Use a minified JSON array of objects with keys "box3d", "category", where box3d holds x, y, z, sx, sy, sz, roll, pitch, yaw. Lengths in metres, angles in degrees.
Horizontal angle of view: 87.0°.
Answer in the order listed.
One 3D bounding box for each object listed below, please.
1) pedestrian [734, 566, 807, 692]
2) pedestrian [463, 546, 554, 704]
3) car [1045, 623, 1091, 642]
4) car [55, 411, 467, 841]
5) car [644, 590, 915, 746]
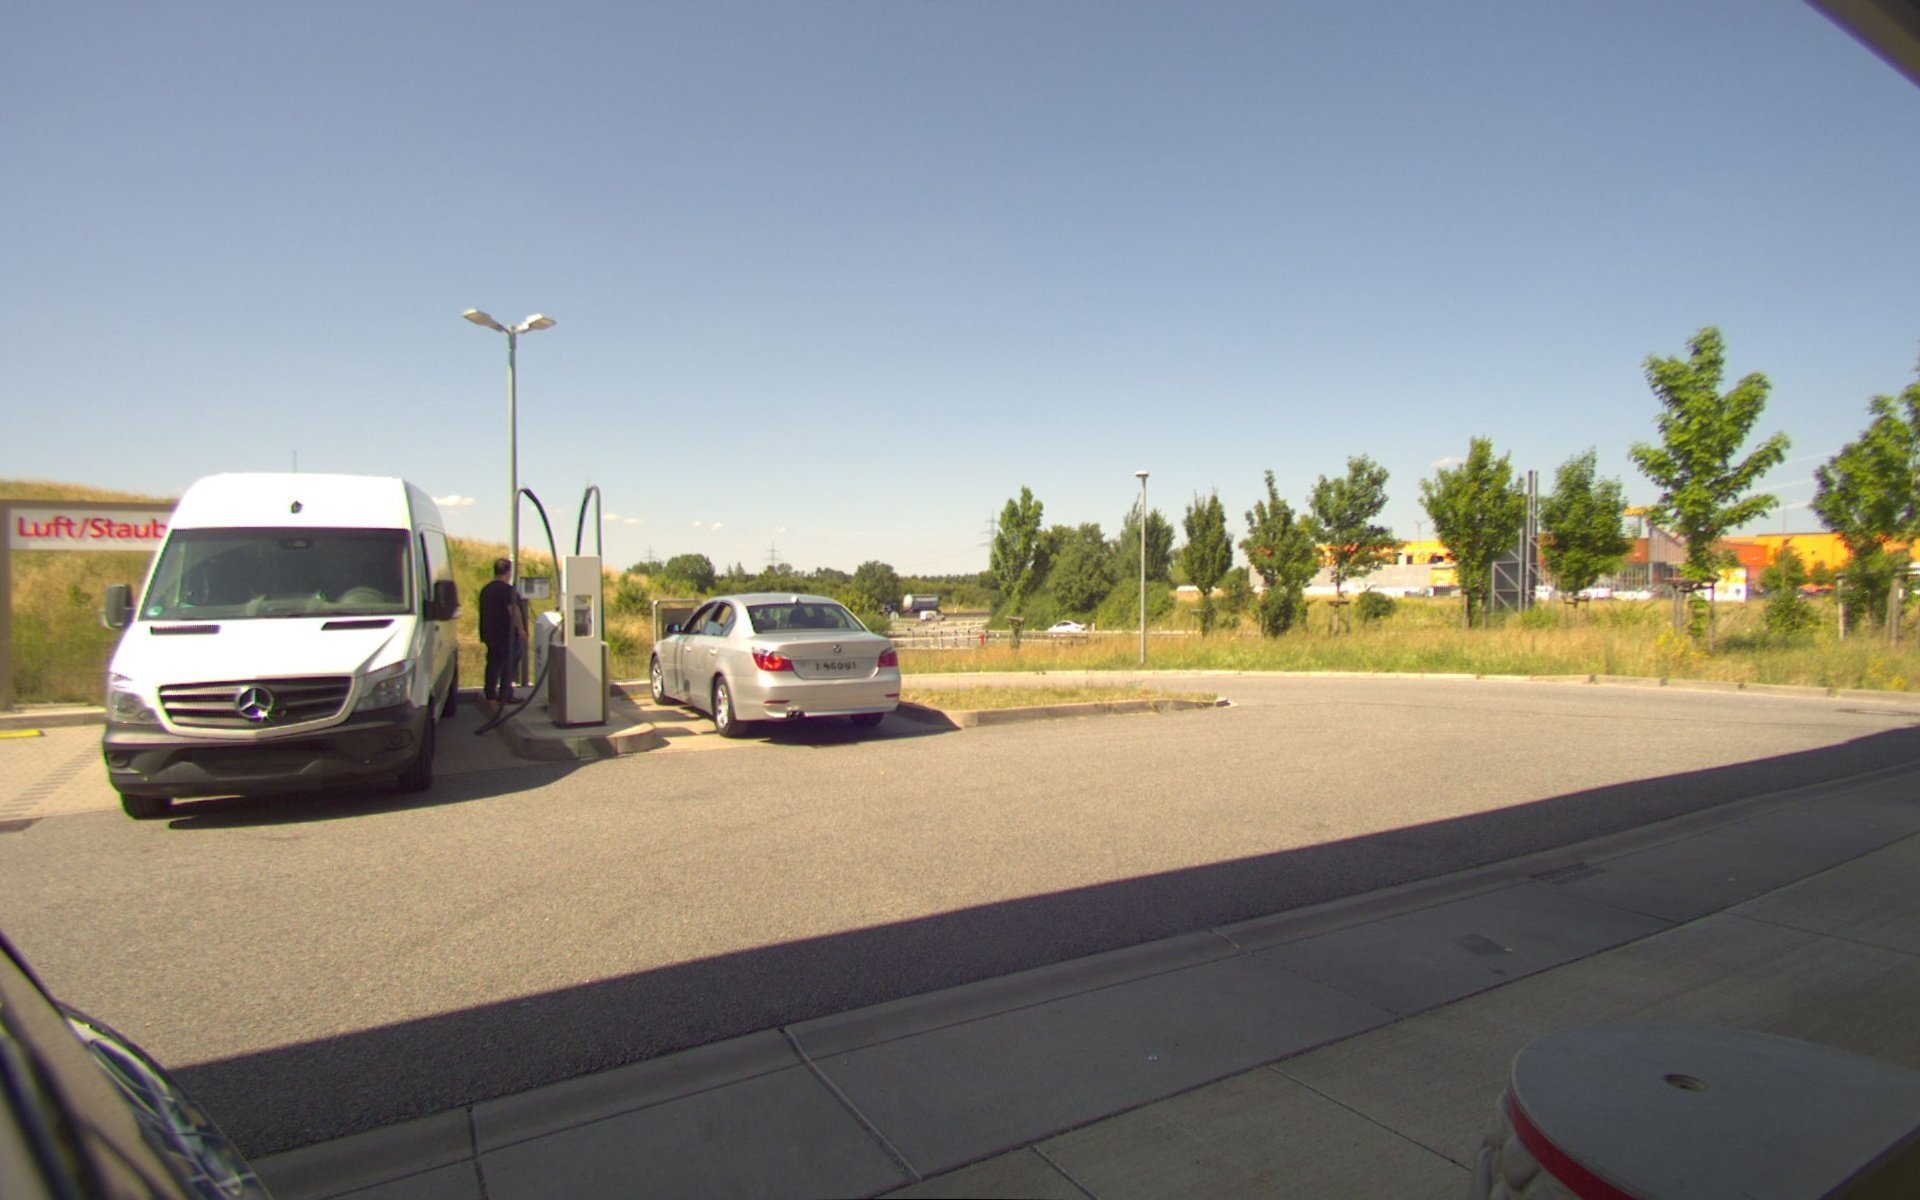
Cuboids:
[{"box3d":[-2.748,0.404,14.655,0.830,1.762,0.711,0,0,-30],"category":"pedestrian"},{"box3d":[-5.296,0.288,11.902,0.699,1.783,0.845,-1,0,-1],"category":"pedestrian"},{"box3d":[9.260,2.807,87.217,1.864,1.530,4.012,0,0,-31],"category":"car"},{"box3d":[-5.964,0.047,9.710,1.965,2.590,7.055,0,2,-24],"category":"car"},{"box3d":[-2.290,0.610,11.755,1.762,1.439,4.335,0,1,-29],"category":"car"}]
